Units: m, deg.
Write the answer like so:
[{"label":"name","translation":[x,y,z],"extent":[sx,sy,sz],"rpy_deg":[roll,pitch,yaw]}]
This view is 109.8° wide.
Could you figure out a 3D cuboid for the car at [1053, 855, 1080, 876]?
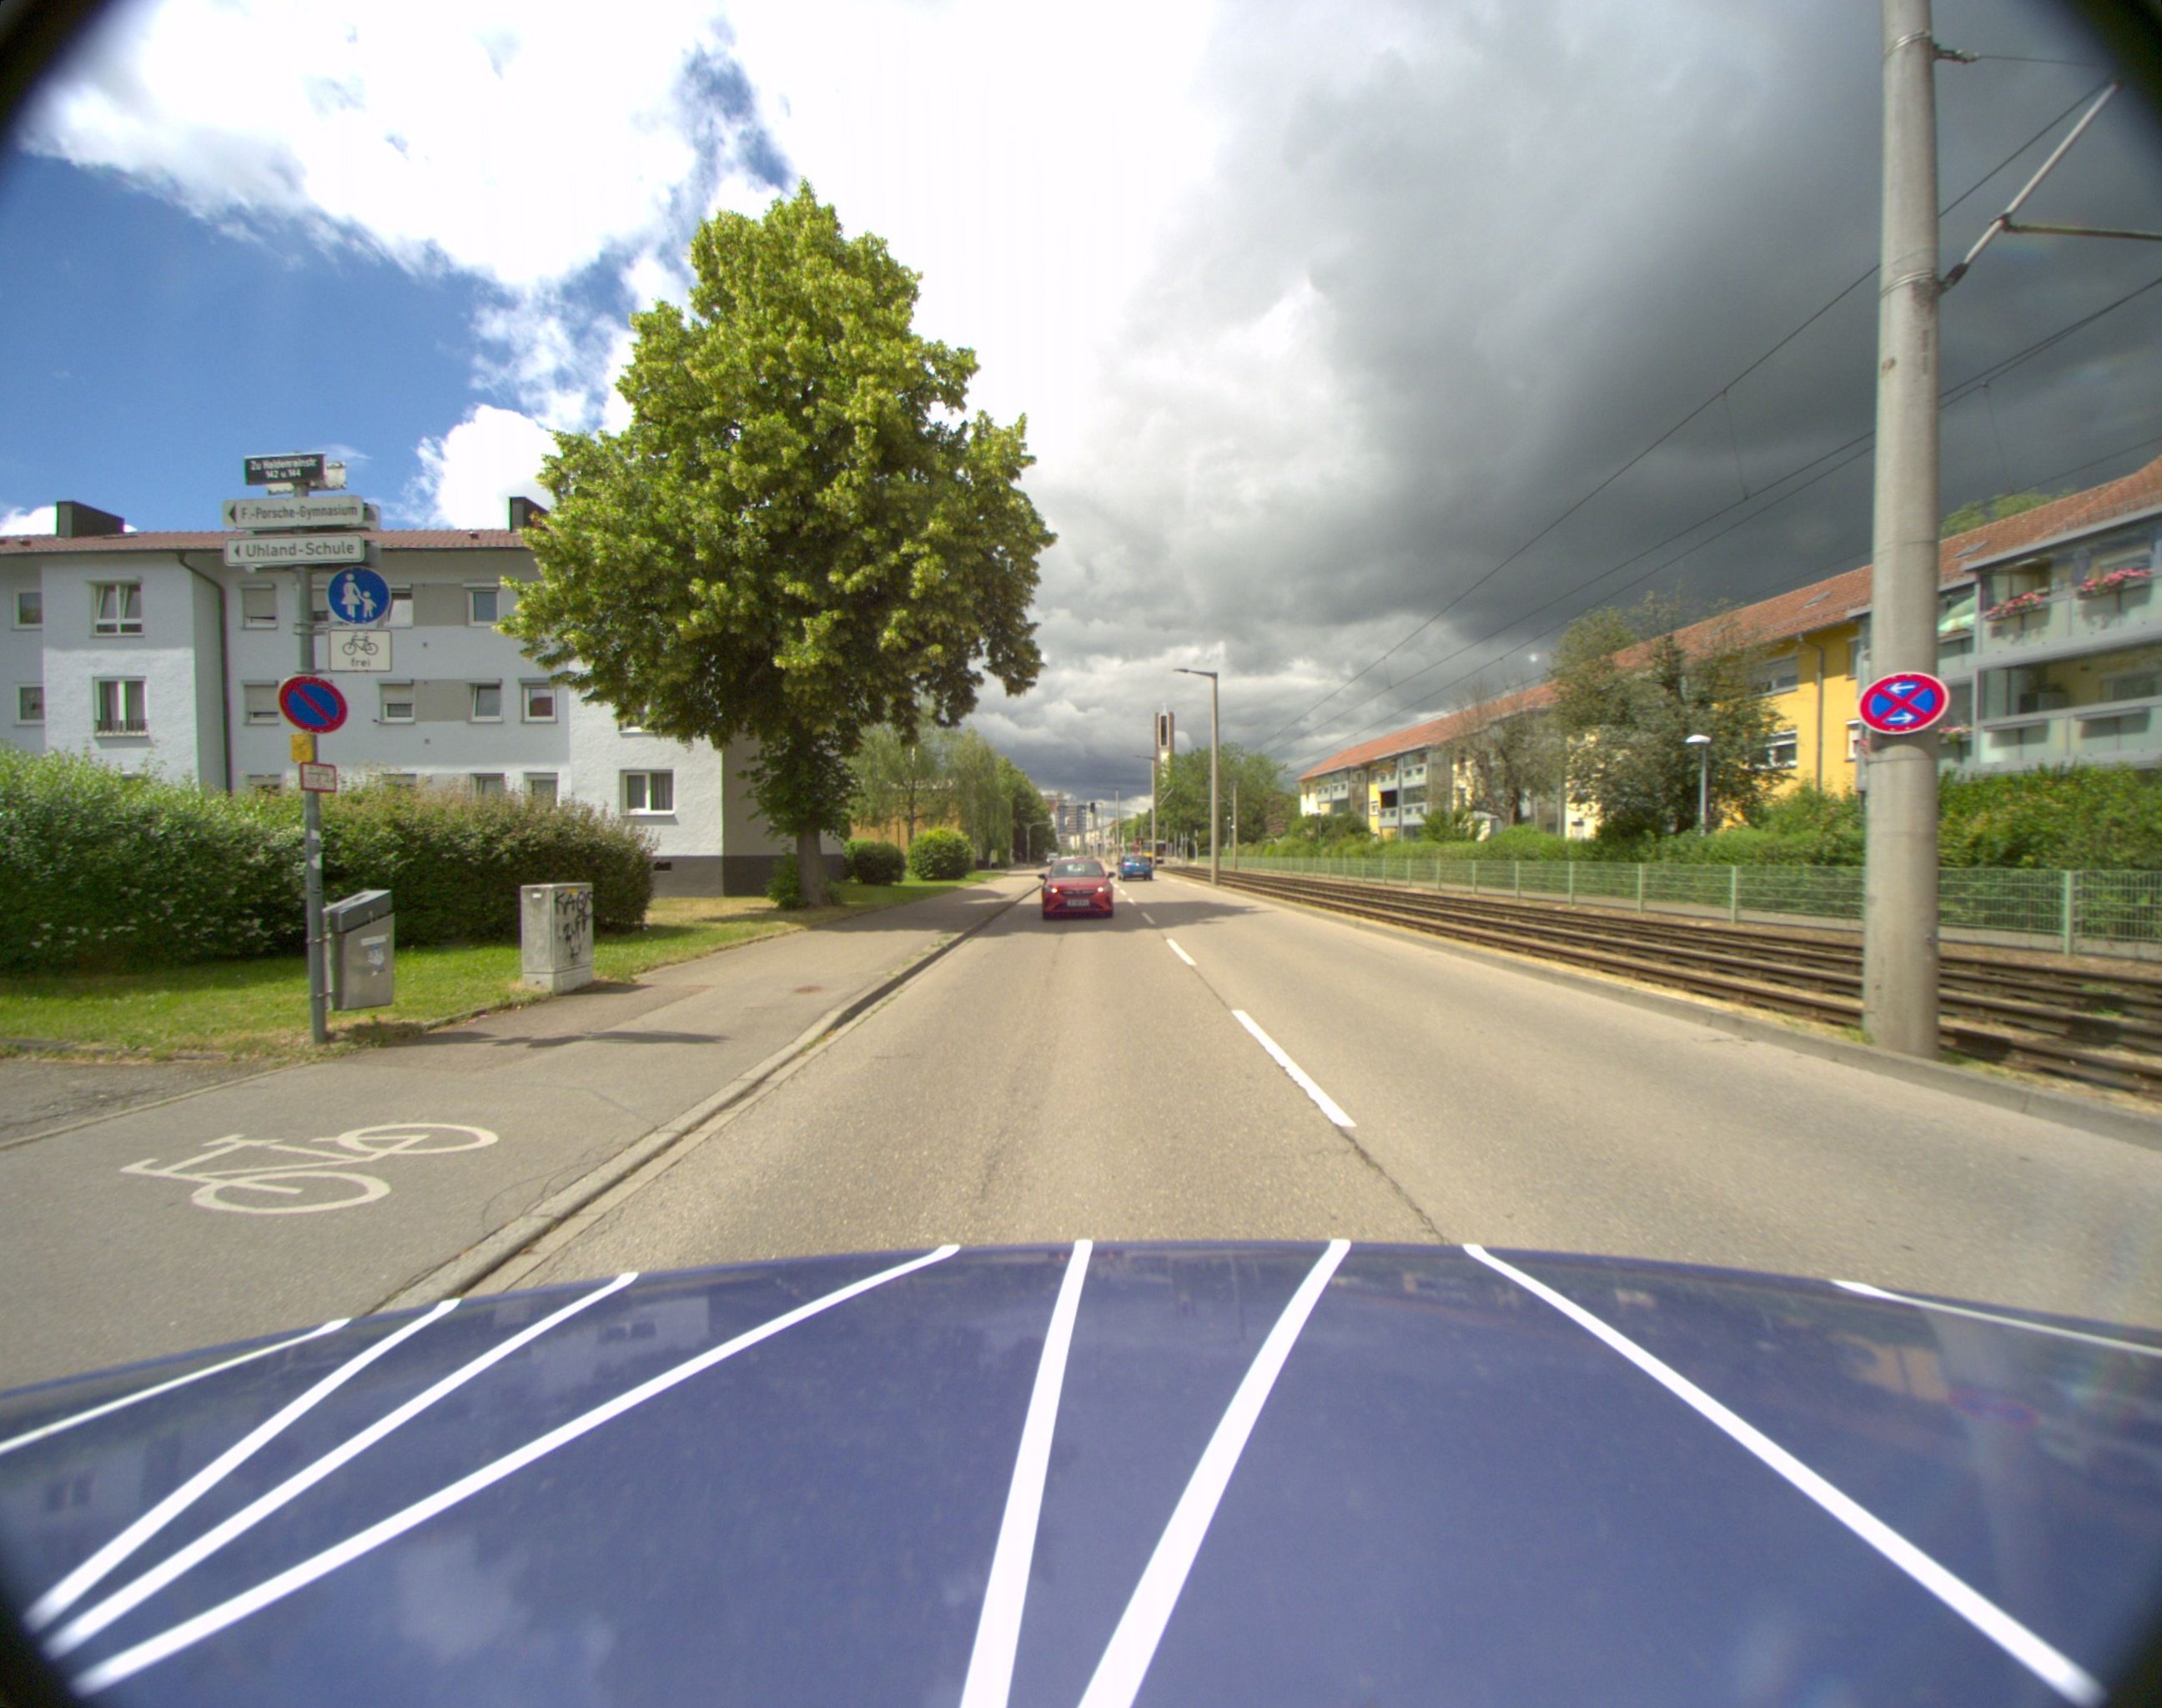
[{"label":"car","translation":[-1.031,0.828,55.615],"extent":[1.756,1.433,4.226],"rpy_deg":[-1,1,1]}]

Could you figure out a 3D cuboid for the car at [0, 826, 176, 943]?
[{"label":"car","translation":[-15.241,0.437,10.166],"extent":[1.680,1.559,3.742],"rpy_deg":[-2,0,1]}]

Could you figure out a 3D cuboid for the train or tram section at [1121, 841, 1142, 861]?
[{"label":"train or tram section","translation":[9.964,-0.585,151.311],"extent":[2.988,3.840,11.784],"rpy_deg":[-2,0,-1]}]

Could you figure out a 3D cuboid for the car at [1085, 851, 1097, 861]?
[{"label":"car","translation":[1.511,0.267,116.638],"extent":[1.633,1.424,4.166],"rpy_deg":[-2,0,-3]}]

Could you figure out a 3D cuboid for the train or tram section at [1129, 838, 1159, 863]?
[{"label":"train or tram section","translation":[10.360,-0.573,126.341],"extent":[2.988,3.840,18.534],"rpy_deg":[-2,0,-1]}]

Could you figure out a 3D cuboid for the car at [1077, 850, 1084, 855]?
[{"label":"car","translation":[-0.051,-0.404,210.407],"extent":[1.722,1.433,4.008],"rpy_deg":[-1,1,-2]}]

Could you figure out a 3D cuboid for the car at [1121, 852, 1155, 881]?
[{"label":"car","translation":[3.163,0.678,42.532],"extent":[1.628,1.516,3.581],"rpy_deg":[-1,0,0]}]

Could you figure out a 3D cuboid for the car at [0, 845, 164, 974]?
[{"label":"car","translation":[-12.718,0.642,7.921],"extent":[1.680,1.407,3.742],"rpy_deg":[-2,0,1]}]

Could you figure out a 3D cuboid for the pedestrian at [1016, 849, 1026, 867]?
[{"label":"pedestrian","translation":[-6.229,0.397,78.888],"extent":[0.811,1.761,0.817],"rpy_deg":[2,1,5]}]

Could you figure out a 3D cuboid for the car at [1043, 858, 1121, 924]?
[{"label":"car","translation":[0.049,0.870,19.618],"extent":[1.756,1.433,4.226],"rpy_deg":[-1,1,1]}]

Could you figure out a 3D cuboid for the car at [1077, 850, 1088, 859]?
[{"label":"car","translation":[0.207,0.075,139.957],"extent":[1.765,1.543,3.998],"rpy_deg":[-2,0,-3]}]
